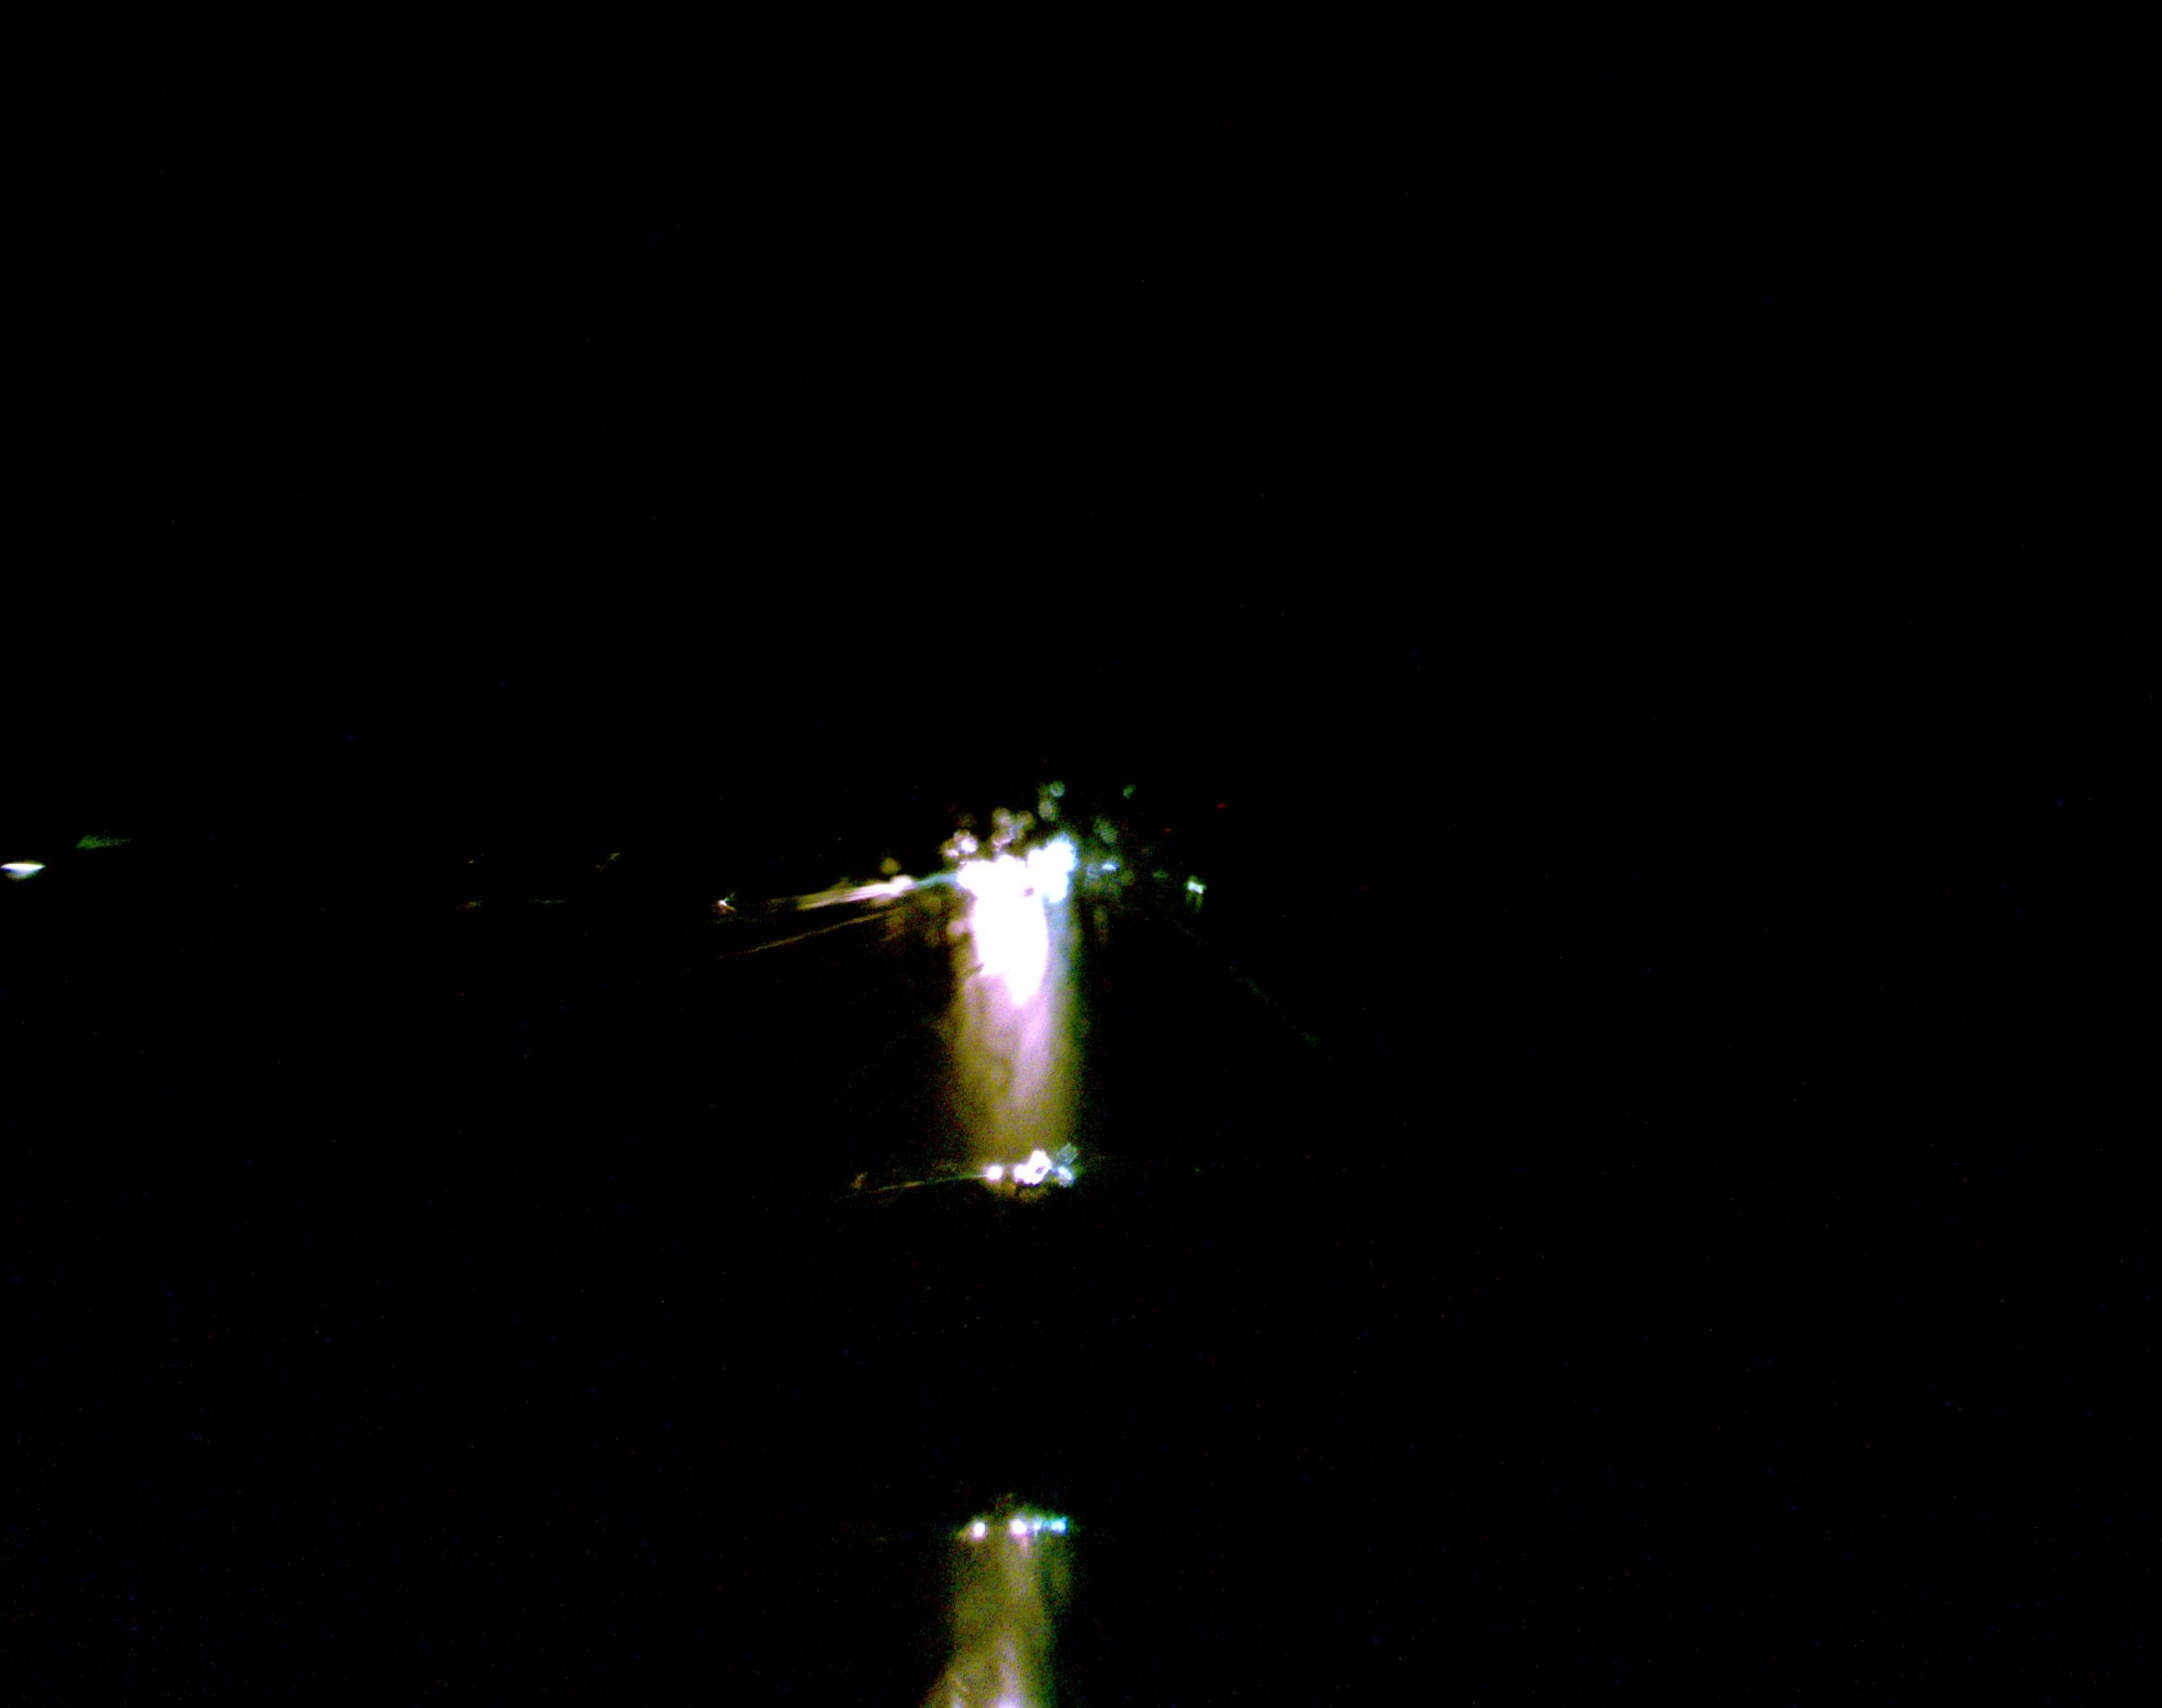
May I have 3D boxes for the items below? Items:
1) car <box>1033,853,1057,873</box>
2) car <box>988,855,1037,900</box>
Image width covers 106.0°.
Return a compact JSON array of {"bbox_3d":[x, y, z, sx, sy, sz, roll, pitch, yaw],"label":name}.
[{"bbox_3d":[-3.124,0.803,72.119,1.920,1.703,4.000,0,0,0],"label":"car"},{"bbox_3d":[-2.654,0.892,32.294,1.478,1.616,3.562,2,0,2],"label":"car"}]
